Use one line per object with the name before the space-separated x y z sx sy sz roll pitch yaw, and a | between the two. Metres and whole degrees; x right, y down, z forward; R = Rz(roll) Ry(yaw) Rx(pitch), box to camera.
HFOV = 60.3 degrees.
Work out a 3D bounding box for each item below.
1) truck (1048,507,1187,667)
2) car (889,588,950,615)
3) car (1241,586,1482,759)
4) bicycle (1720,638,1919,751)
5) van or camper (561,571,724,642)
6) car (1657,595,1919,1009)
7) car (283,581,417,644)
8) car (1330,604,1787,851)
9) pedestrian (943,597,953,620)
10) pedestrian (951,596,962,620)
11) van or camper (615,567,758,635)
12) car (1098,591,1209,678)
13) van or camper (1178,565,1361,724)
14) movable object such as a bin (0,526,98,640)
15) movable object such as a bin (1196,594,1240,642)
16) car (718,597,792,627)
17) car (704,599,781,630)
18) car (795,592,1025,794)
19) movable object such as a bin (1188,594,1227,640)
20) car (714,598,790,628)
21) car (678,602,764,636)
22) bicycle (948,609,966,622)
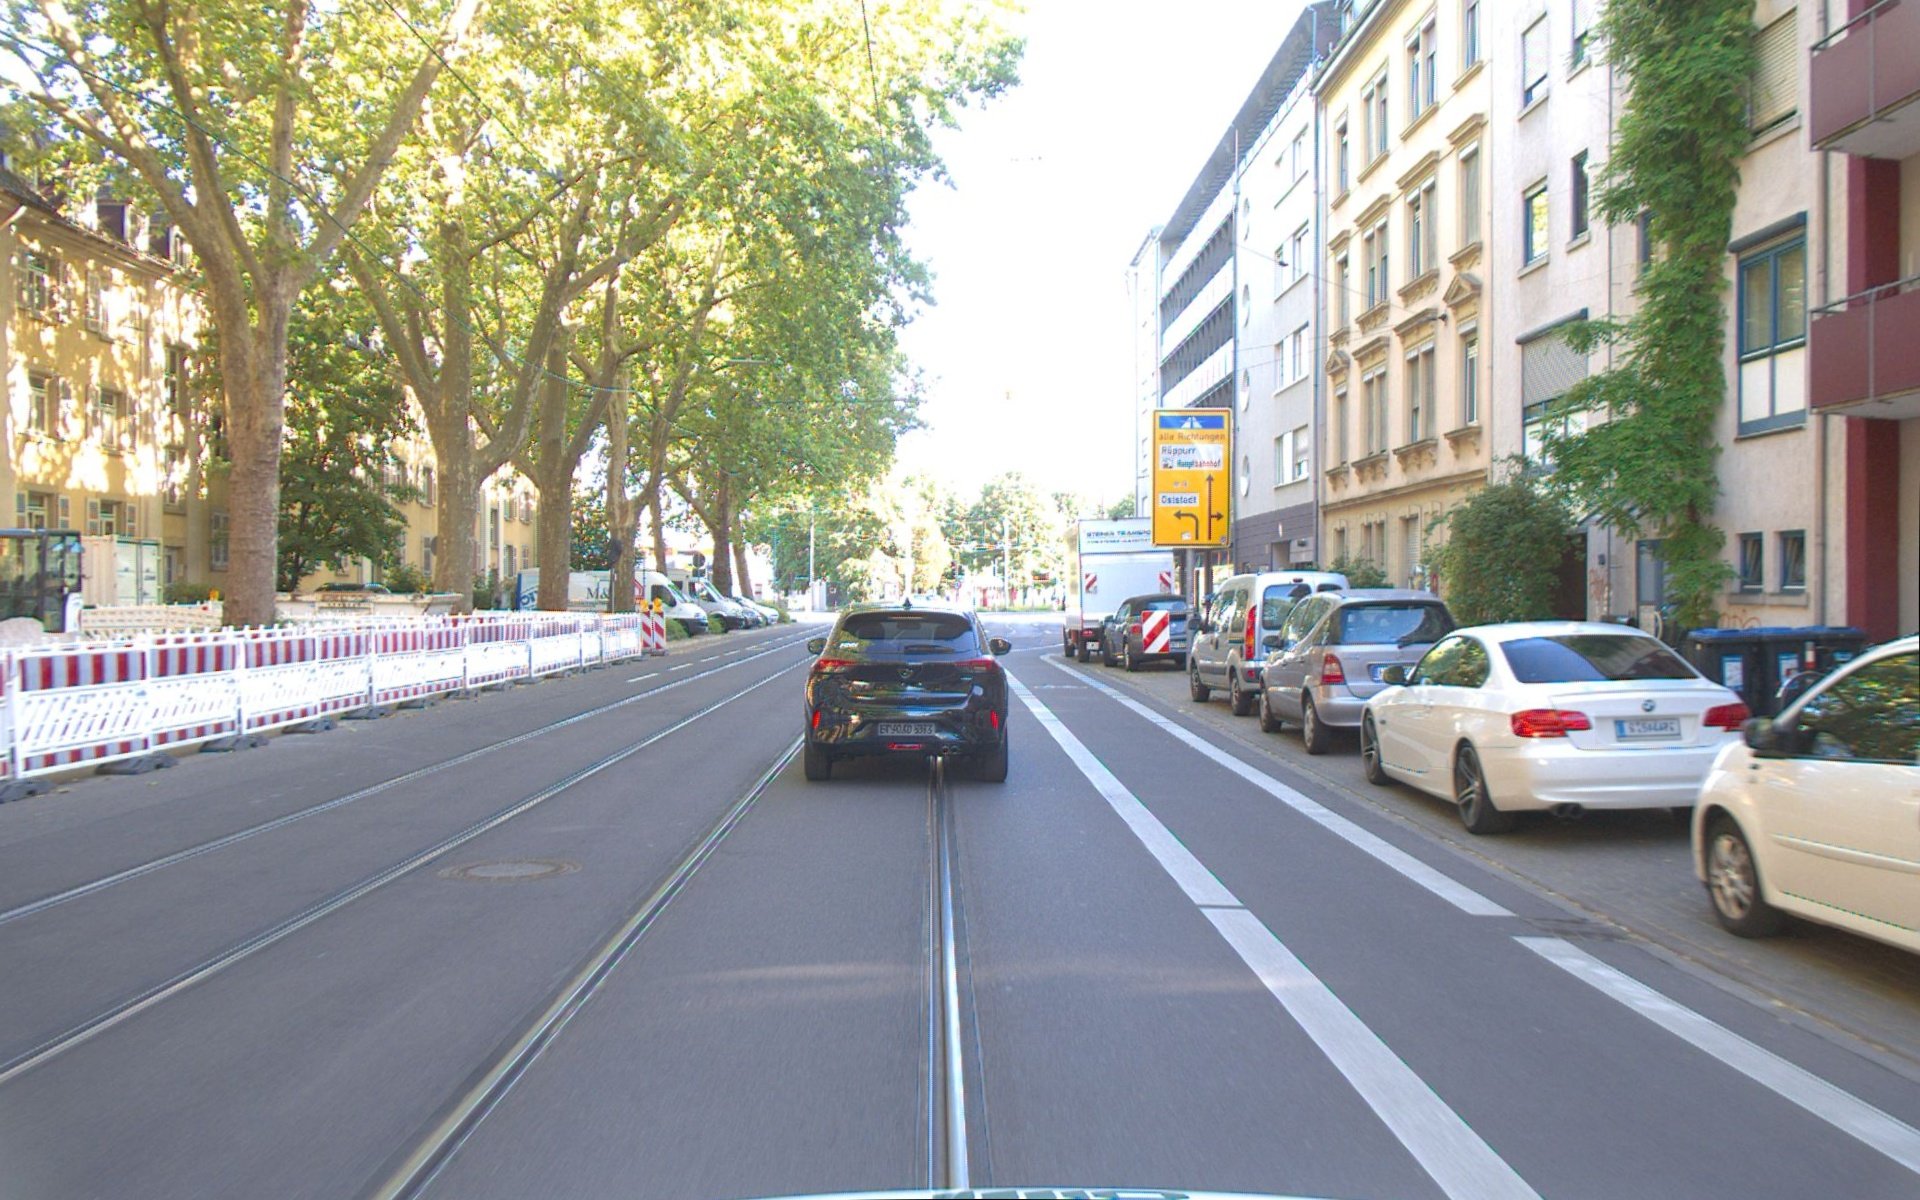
truck | 3.630 -0.277 39.666 2.486 3.396 7.194 -2 0 0
car | -2.825 0.121 114.280 1.977 1.725 4.682 -2 0 -34
car | 4.109 0.675 17.450 1.626 1.608 3.588 -1 0 0
bicycle | 8.585 0.931 16.369 1.854 1.047 0.476 -2 0 4
van or camper | -11.551 0.242 60.376 5.387 2.421 2.270 1 0 2
car | 4.419 0.762 6.648 1.559 1.553 3.834 -2 0 0
car | -16.772 0.333 45.722 1.752 1.598 4.522 2 0 4
car | 4.209 0.789 12.519 1.626 1.424 4.738 -2 0 -1
pedestrian | -0.998 0.686 134.937 0.604 1.886 0.583 1 -1 28
pedestrian | -0.311 0.655 135.449 0.645 1.966 0.608 1 -1 31
van or camper | -11.473 0.051 69.697 5.607 2.690 2.269 1 0 -1
car | 3.860 0.662 33.582 1.695 1.584 4.151 -2 0 0
van or camper | 4.066 0.530 22.329 1.635 1.916 4.210 -1 0 0
movable object such as a bin | -14.054 -0.252 25.115 1.075 1.674 1.559 1 0 -1
movable object such as a bin | 8.488 0.580 54.514 1.162 1.510 1.595 -2 0 -1
car | -11.732 0.676 94.771 4.086 1.700 1.963 0 0 -4
car | -11.738 0.784 89.266 3.905 1.541 1.650 1 0 0
car | -0.424 0.702 14.681 1.745 1.522 3.999 1 0 -1
movable object such as a bin | 8.413 0.586 56.270 1.088 1.510 1.387 -2 0 -1
car | -11.588 0.717 92.365 4.086 1.700 1.963 0 0 -4
car | -11.564 0.908 80.209 3.905 1.541 1.650 1 0 0
bicycle | -0.226 1.190 129.951 0.771 1.009 2.245 1 0 15
